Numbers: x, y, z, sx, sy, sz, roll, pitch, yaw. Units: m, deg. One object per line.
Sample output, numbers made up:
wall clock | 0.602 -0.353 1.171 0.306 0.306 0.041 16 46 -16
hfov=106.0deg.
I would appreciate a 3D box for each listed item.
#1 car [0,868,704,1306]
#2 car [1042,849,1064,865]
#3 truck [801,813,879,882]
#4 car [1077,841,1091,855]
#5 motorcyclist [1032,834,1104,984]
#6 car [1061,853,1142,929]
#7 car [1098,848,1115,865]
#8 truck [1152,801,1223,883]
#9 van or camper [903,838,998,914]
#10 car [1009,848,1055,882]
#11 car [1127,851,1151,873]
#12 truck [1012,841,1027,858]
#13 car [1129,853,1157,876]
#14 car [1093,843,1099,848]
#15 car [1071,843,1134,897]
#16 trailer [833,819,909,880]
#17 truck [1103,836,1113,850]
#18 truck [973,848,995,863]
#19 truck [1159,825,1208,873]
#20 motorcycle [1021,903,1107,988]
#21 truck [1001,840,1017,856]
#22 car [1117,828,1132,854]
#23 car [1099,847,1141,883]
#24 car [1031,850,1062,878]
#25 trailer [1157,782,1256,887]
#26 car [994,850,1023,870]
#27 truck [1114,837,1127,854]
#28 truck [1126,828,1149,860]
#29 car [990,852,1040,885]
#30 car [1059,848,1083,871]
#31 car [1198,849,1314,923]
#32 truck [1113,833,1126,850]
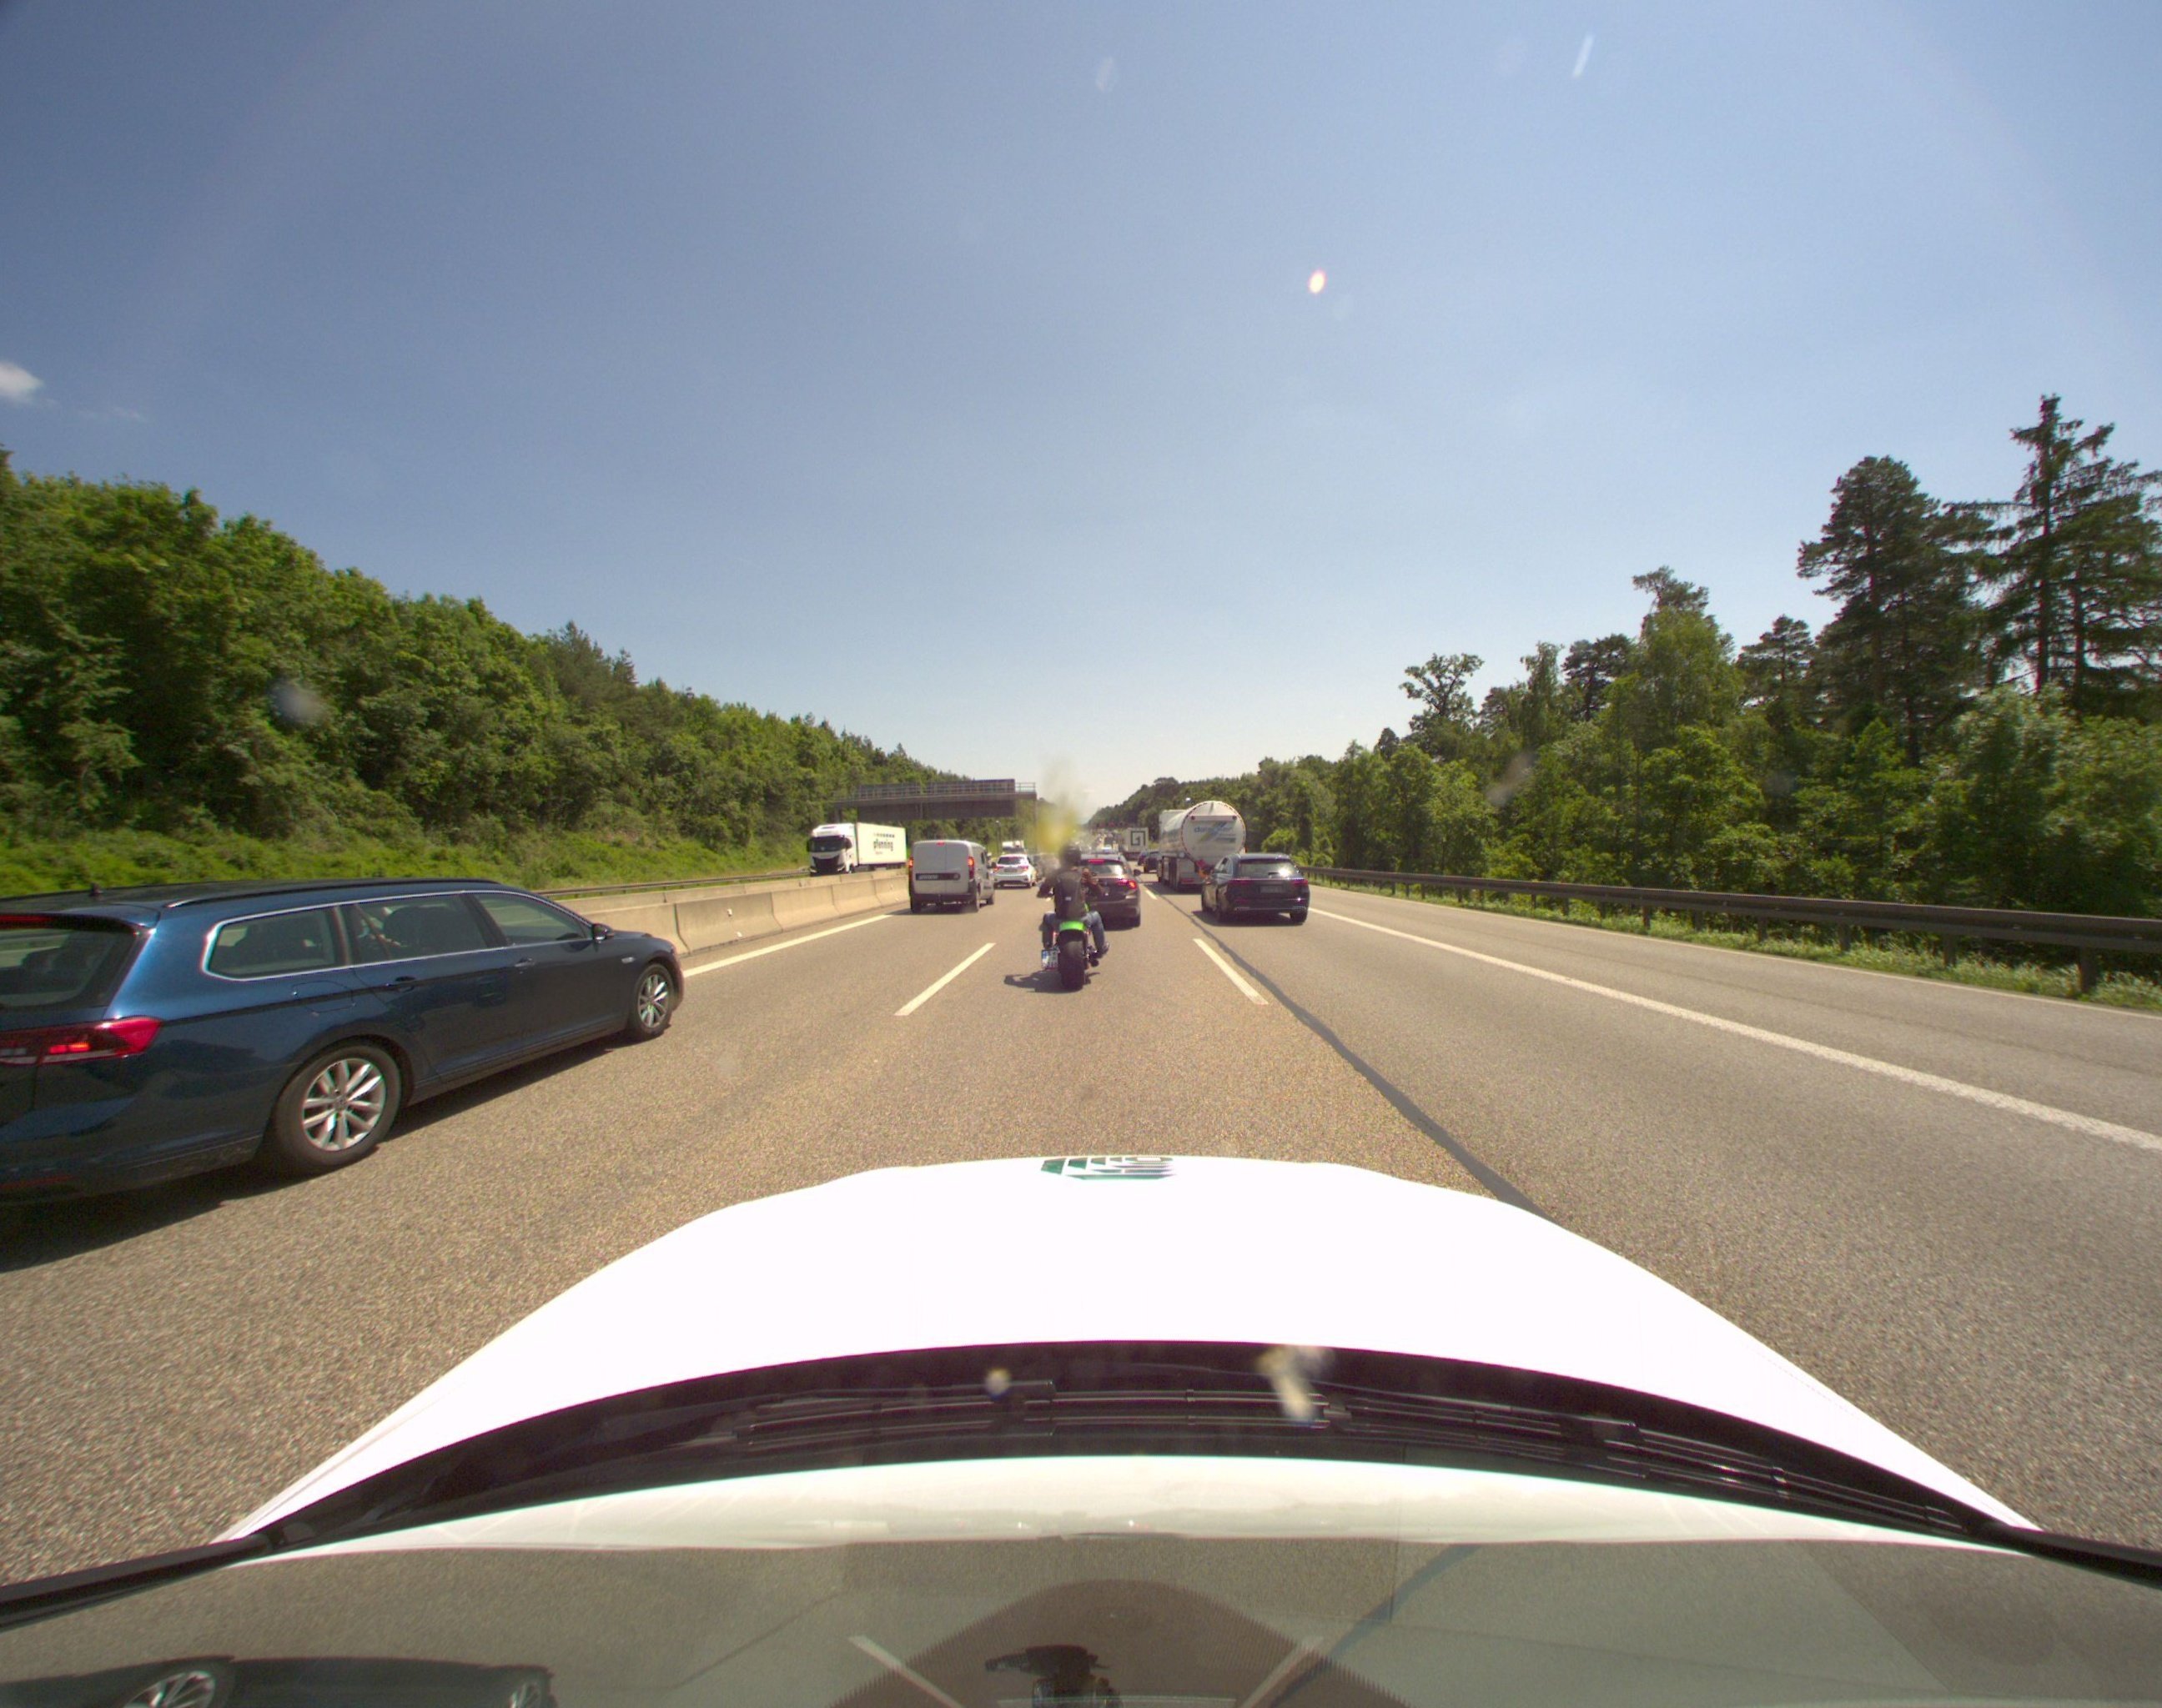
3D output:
car | -4.493 0.853 5.169 1.867 1.450 4.680 -1 0 2
car | -2.643 0.308 77.285 1.757 1.442 4.002 -1 -1 2
truck | -16.830 -0.369 57.450 2.937 4.481 7.522 -1 -1 2
car | 0.412 -0.959 126.194 1.986 2.013 4.002 -2 0 2
motorcyclist | -0.132 0.624 9.683 0.796 1.688 1.017 -1 -1 2
car | 0.462 0.705 17.659 1.535 1.450 4.002 -1 0 2
car | 3.218 0.340 101.791 1.986 2.013 4.002 -1 0 2
truck | 5.115 -0.513 40.178 2.817 3.671 6.432 -1 -1 2
van or camper | -3.503 0.519 22.681 1.846 1.880 4.562 0 1 1
car | -2.502 0.559 42.461 1.986 1.684 4.332 -1 -1 2
car | 5.293 0.746 75.078 1.987 2.014 4.000 -1 -1 0
truck | -14.595 -0.994 195.043 2.682 3.990 7.994 -1 -1 2
car | 4.239 0.706 56.185 1.769 1.527 4.002 -1 -1 2
car | 4.456 -2.572 245.123 1.763 1.556 4.002 -2 0 2
car | 0.738 0.547 28.002 1.986 1.711 4.000 -1 -1 1
trailer | -16.570 -0.273 65.275 2.938 4.481 10.820 -1 -1 2
truck | 7.236 -2.843 218.210 2.686 3.405 10.483 -2 0 2
truck | -14.195 0.229 119.168 2.343 2.014 6.493 -1 -1 1
truck | 6.824 -0.317 54.995 2.380 2.979 8.254 -1 0 1
motorcycle | -0.150 1.069 10.043 0.932 0.793 2.300 -1 0 2
truck | -13.390 -1.139 151.918 2.170 2.884 6.744 -1 -1 1
car | 7.118 -2.054 134.171 2.159 3.893 9.333 -1 -1 2
car | 1.952 0.558 41.746 1.986 1.775 4.000 -1 -1 1
car | -2.533 0.743 60.113 1.986 2.014 4.001 -1 -1 1
trailer | 4.928 -0.608 34.091 2.817 3.671 10.737 -1 -1 2
car | -5.700 0.475 64.239 1.818 1.494 4.001 -1 0 1
truck | 5.348 -1.123 110.040 1.584 2.111 3.755 -1 -1 4
truck | 7.174 -1.175 102.682 2.840 3.821 7.196 -1 -1 5
car | -2.900 0.635 36.620 1.769 1.411 4.002 -1 -1 2
car | -0.885 0.487 73.043 1.986 2.014 4.002 -1 -1 2
car | 3.829 0.674 18.572 1.785 1.458 4.626 -1 -1 2
truck | 8.388 -2.662 179.267 2.686 3.405 10.483 -2 0 2
